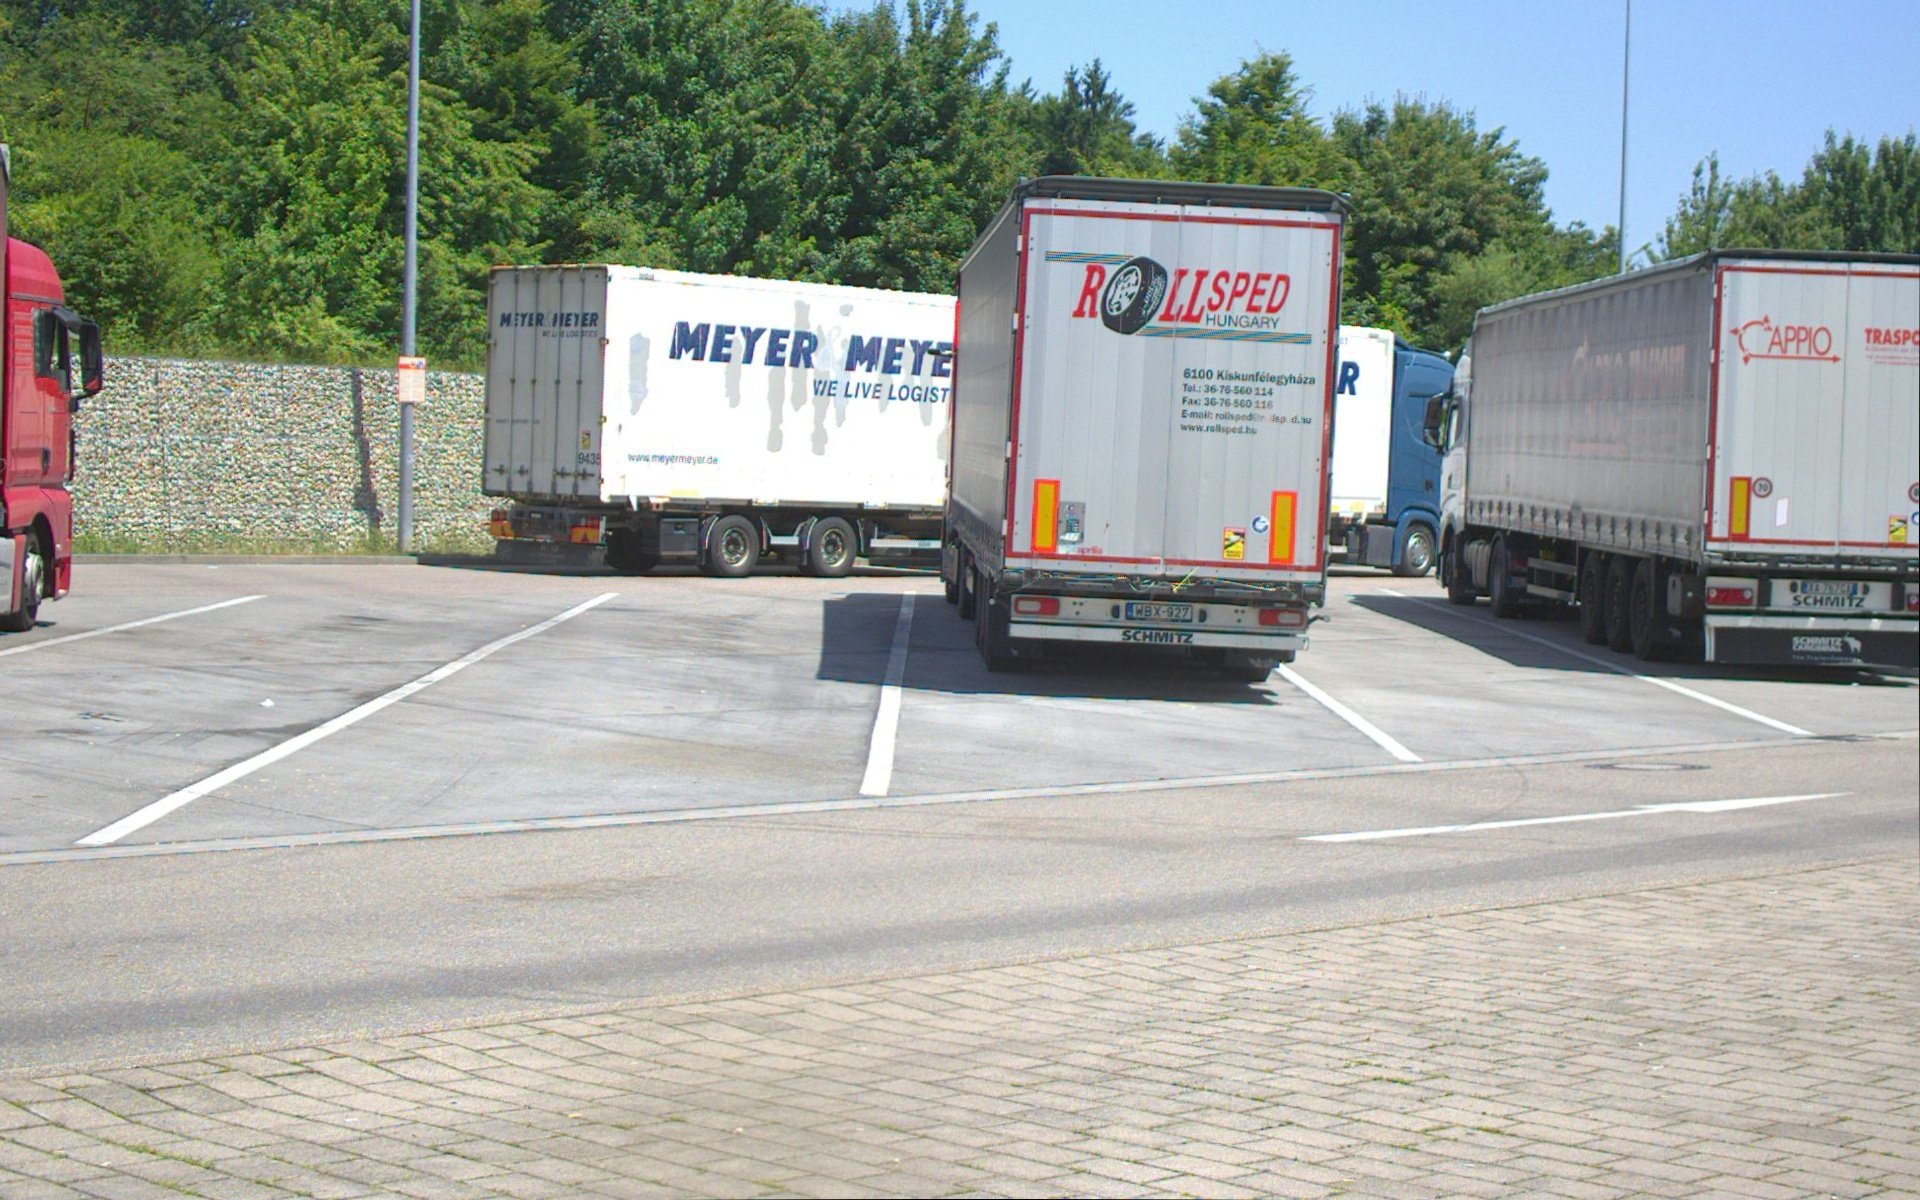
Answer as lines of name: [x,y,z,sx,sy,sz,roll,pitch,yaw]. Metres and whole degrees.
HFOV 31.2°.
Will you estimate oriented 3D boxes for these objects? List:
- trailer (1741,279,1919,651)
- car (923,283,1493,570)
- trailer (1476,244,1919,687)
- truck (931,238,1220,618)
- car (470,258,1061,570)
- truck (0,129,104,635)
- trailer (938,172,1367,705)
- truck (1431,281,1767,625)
trailer: [11.833,-1.529,39.024,2.866,4.023,12.439,2,3,0]
car: [4.156,-2.661,54.843,10.188,4.174,2.687,0,5,-43]
trailer: [8.178,-1.568,37.960,2.866,4.023,12.439,2,3,0]
truck: [1.221,-2.053,40.702,2.866,4.023,7.028,2,3,-2]
car: [-2.577,-2.528,48.386,8.445,4.030,2.687,-1,5,-44]
truck: [-9.155,-1.808,27.985,2.696,4.099,6.240,2,3,0]
trailer: [1.433,-1.635,33.623,2.866,4.023,14.243,2,3,-2]
truck: [8.119,-1.950,44.587,2.866,4.023,6.957,2,3,0]
